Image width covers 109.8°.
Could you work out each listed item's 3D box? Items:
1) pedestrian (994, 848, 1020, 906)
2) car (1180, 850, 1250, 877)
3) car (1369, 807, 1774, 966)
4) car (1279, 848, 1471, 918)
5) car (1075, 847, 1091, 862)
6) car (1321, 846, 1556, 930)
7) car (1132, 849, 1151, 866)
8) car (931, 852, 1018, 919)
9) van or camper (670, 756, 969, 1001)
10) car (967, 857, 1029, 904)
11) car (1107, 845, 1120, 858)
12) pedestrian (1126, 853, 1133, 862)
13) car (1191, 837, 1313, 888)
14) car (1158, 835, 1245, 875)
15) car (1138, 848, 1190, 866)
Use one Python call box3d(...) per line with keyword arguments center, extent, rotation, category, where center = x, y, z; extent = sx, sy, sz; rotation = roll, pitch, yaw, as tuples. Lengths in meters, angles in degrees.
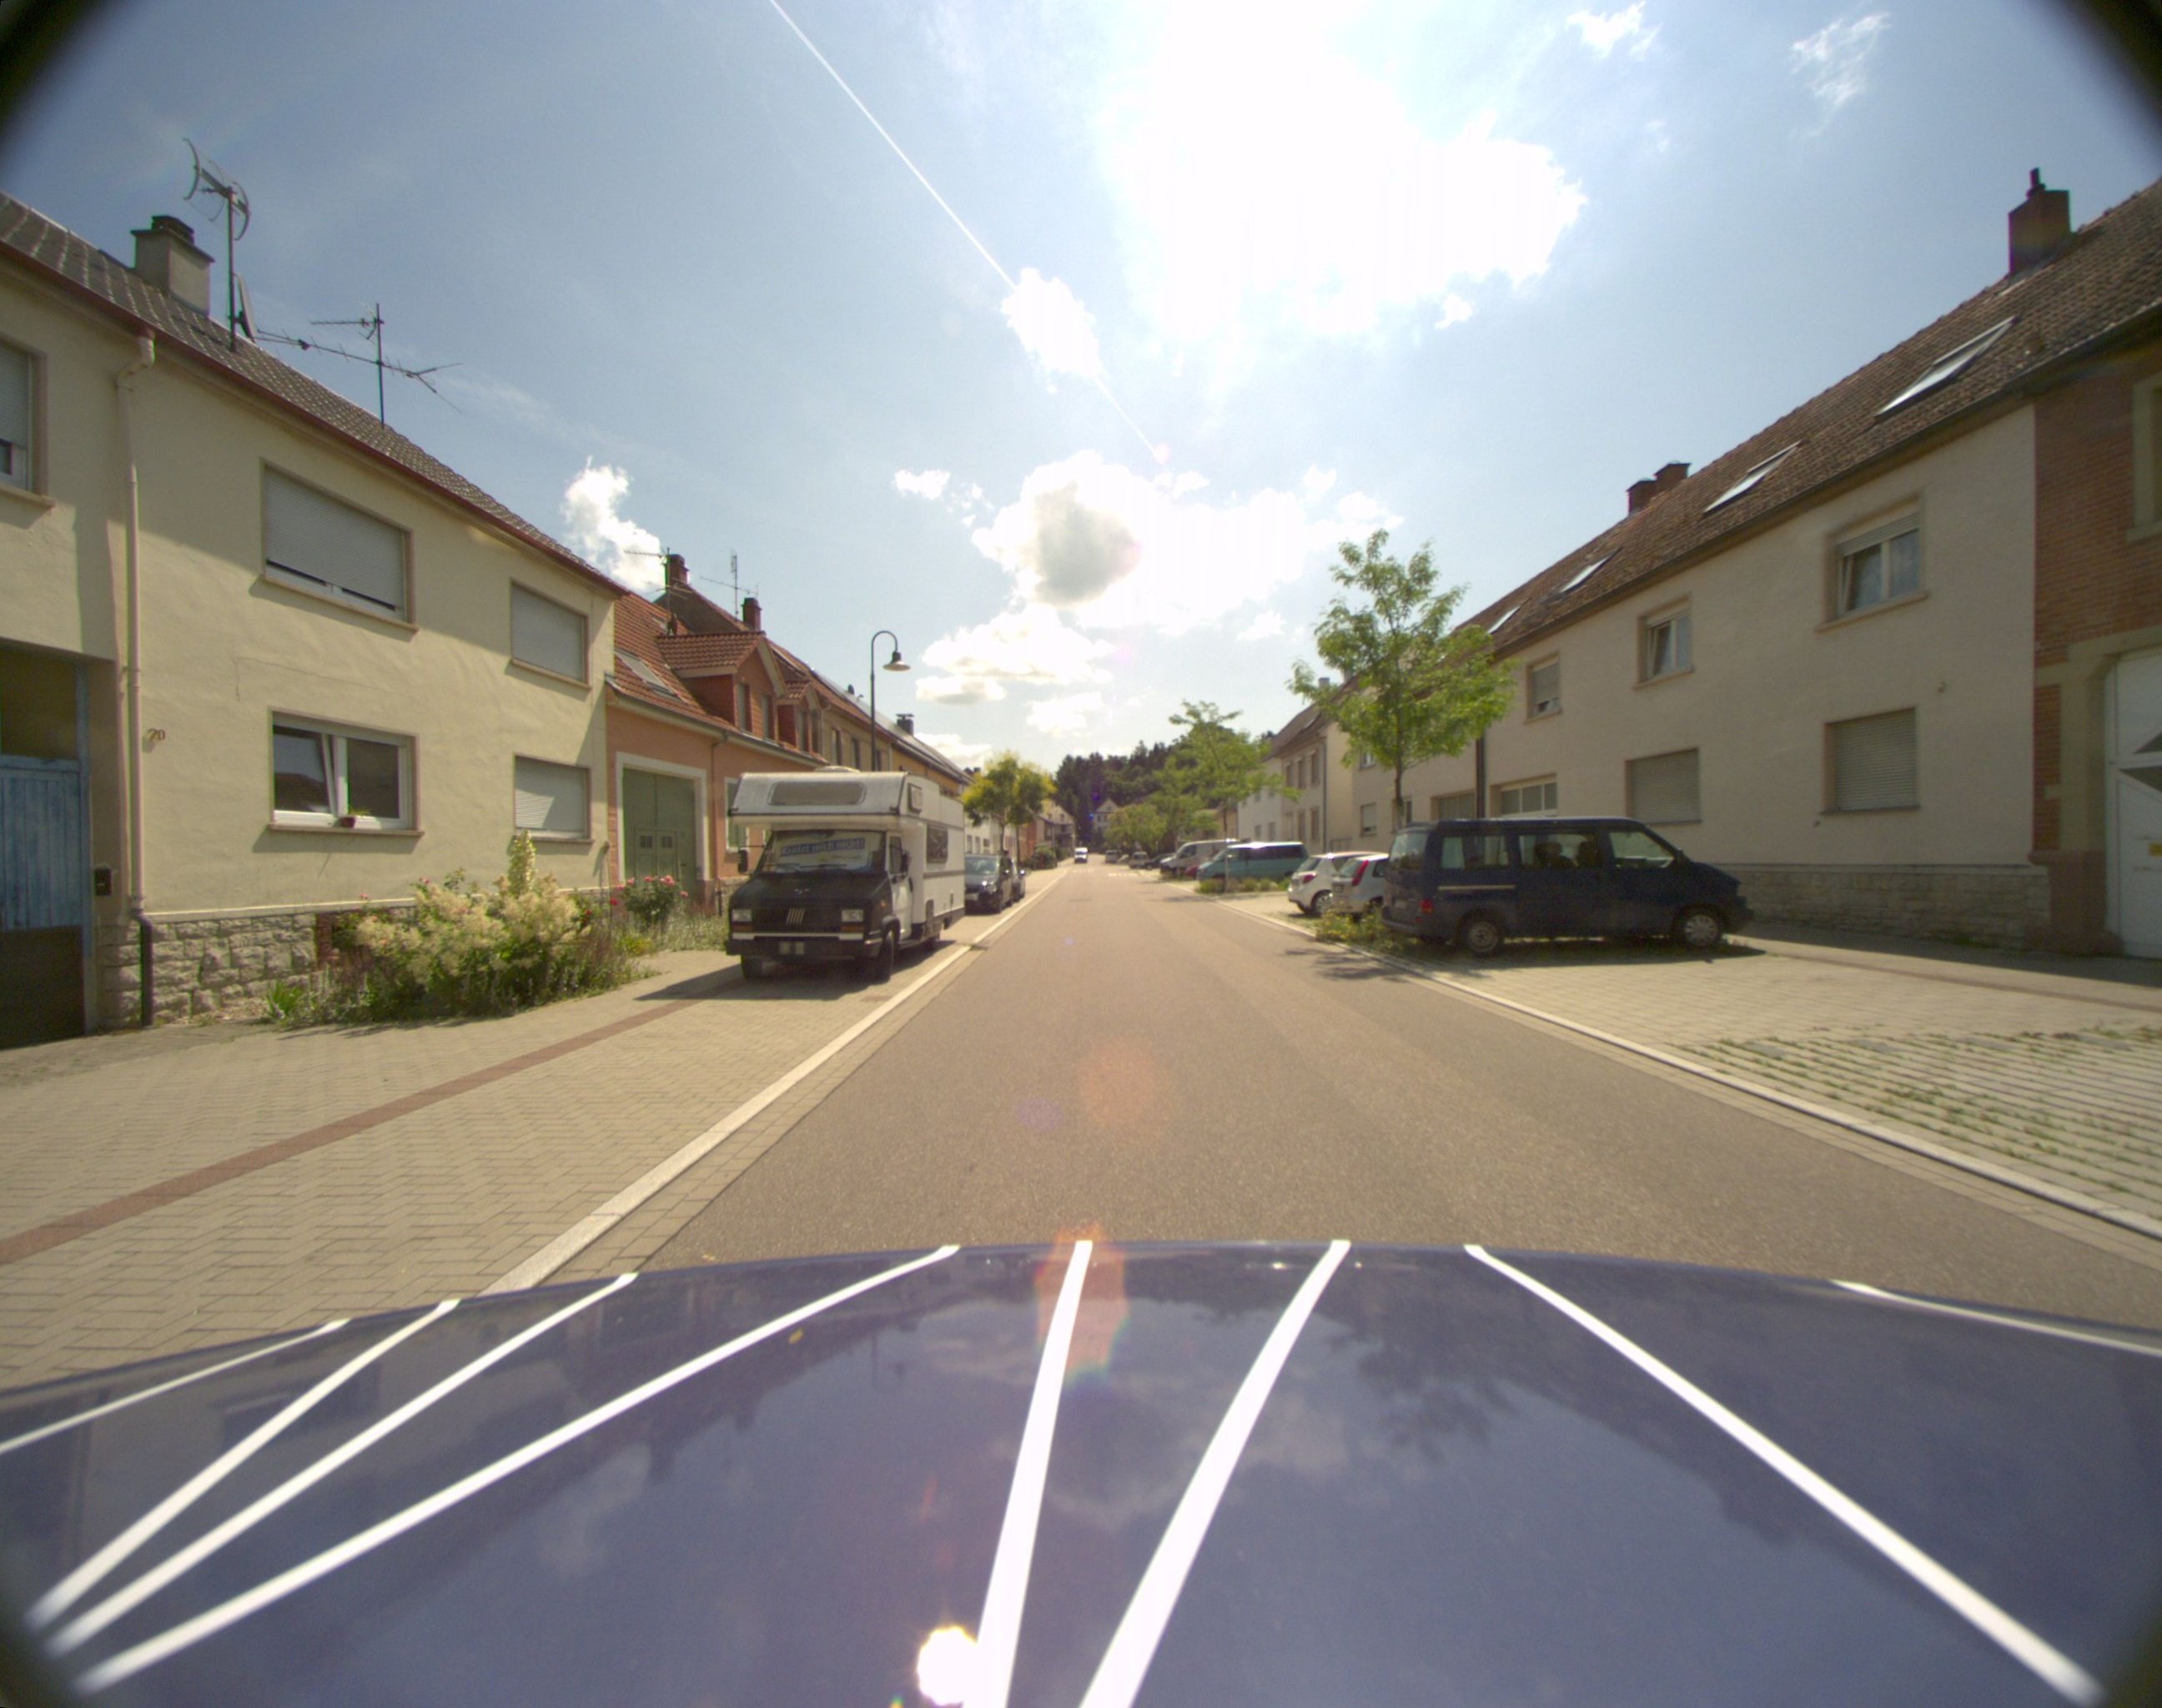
box3d(center=(-2.400, 0.750, 24.608), extent=(0.718, 1.842, 0.578), rotation=(-1, 1, 1), category="pedestrian")
box3d(center=(7.884, 0.559, 44.976), extent=(3.792, 1.377, 1.725), rotation=(-3, 1, 1), category="car")
box3d(center=(6.929, 0.443, 11.176), extent=(4.624, 1.985, 1.953), rotation=(-2, 1, 3), category="car")
box3d(center=(6.990, 0.663, 18.366), extent=(3.925, 1.480, 1.773), rotation=(-2, 0, 3), category="car")
box3d(center=(0.368, 0.040, 126.640), extent=(2.489, 2.306, 5.599), rotation=(-3, 1, 0), category="car")
box3d(center=(7.145, 0.661, 15.512), extent=(3.925, 1.480, 1.773), rotation=(-2, 0, 3), category="car")
box3d(center=(6.509, 0.362, 82.404), extent=(1.844, 1.737, 4.687), rotation=(-3, -1, 2), category="car")
box3d(center=(-2.963, 0.813, 21.991), extent=(1.771, 1.695, 4.325), rotation=(-1, 0, 1), category="car")
box3d(center=(-3.416, 0.288, 11.572), extent=(2.479, 2.793, 5.790), rotation=(0, 0, 1), category="van or camper")
box3d(center=(-2.895, 0.897, 27.294), extent=(1.771, 1.480, 4.295), rotation=(-1, 0, -1), category="car")
box3d(center=(5.367, -0.443, 126.699), extent=(1.998, 1.968, 3.999), rotation=(-1, 1, 0), category="car")
box3d(center=(6.479, 0.504, 101.268), extent=(0.815, 1.135, 0.885), rotation=(-3, 1, -3), category="pedestrian")
box3d(center=(7.195, 0.356, 32.368), extent=(4.688, 1.896, 2.000), rotation=(-3, 1, 1), category="car")
box3d(center=(7.667, 0.087, 48.699), extent=(5.180, 2.275, 2.157), rotation=(-3, 1, -1), category="car")
box3d(center=(7.699, 0.263, 70.465), extent=(4.598, 1.508, 1.901), rotation=(-2, 0, 1), category="car")
